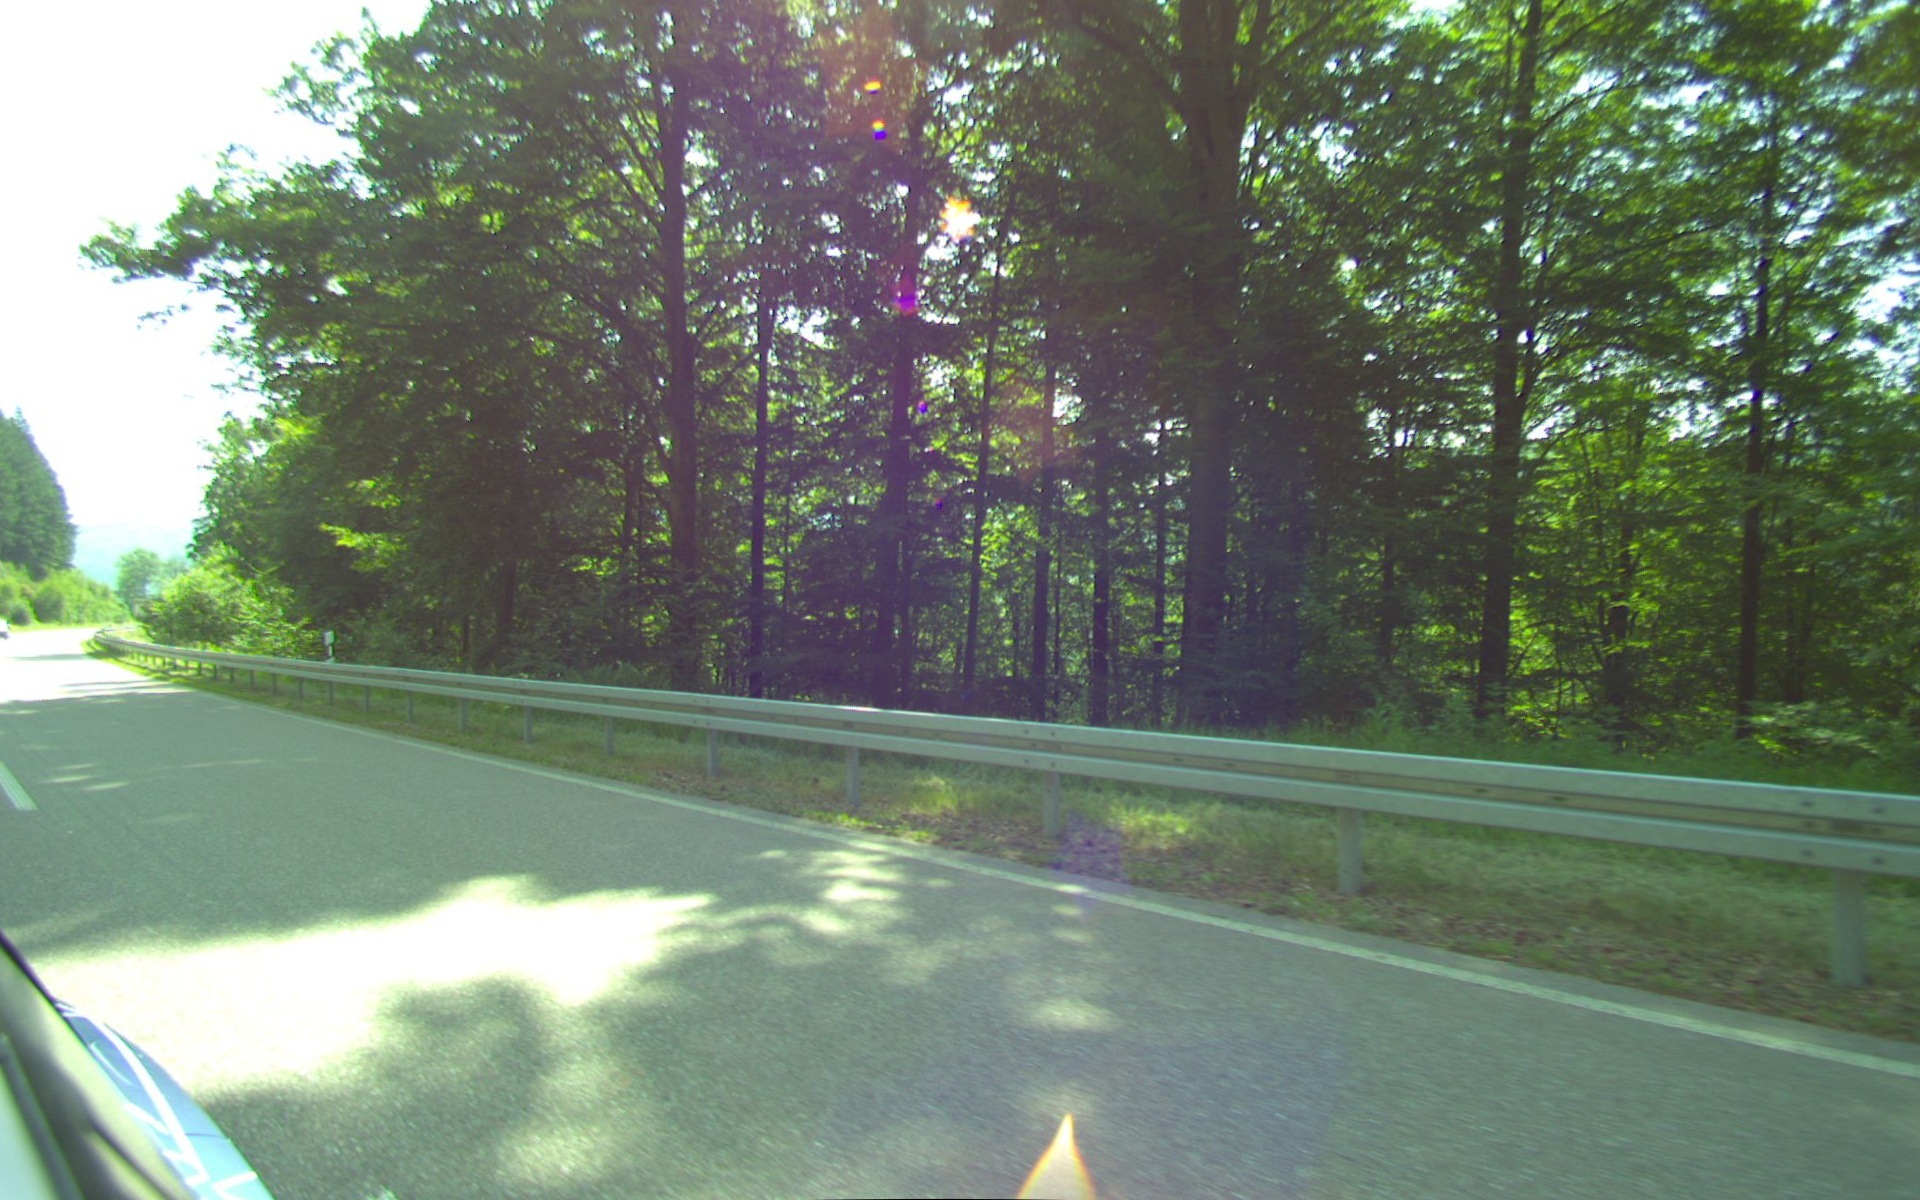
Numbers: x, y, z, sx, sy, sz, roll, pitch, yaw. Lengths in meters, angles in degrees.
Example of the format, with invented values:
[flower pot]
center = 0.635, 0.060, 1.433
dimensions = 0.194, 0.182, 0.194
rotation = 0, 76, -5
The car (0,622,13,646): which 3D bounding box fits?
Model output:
[car]
center = -70.849, 2.481, 74.059
dimensions = 1.968, 1.741, 4.007
rotation = 0, -1, -39
